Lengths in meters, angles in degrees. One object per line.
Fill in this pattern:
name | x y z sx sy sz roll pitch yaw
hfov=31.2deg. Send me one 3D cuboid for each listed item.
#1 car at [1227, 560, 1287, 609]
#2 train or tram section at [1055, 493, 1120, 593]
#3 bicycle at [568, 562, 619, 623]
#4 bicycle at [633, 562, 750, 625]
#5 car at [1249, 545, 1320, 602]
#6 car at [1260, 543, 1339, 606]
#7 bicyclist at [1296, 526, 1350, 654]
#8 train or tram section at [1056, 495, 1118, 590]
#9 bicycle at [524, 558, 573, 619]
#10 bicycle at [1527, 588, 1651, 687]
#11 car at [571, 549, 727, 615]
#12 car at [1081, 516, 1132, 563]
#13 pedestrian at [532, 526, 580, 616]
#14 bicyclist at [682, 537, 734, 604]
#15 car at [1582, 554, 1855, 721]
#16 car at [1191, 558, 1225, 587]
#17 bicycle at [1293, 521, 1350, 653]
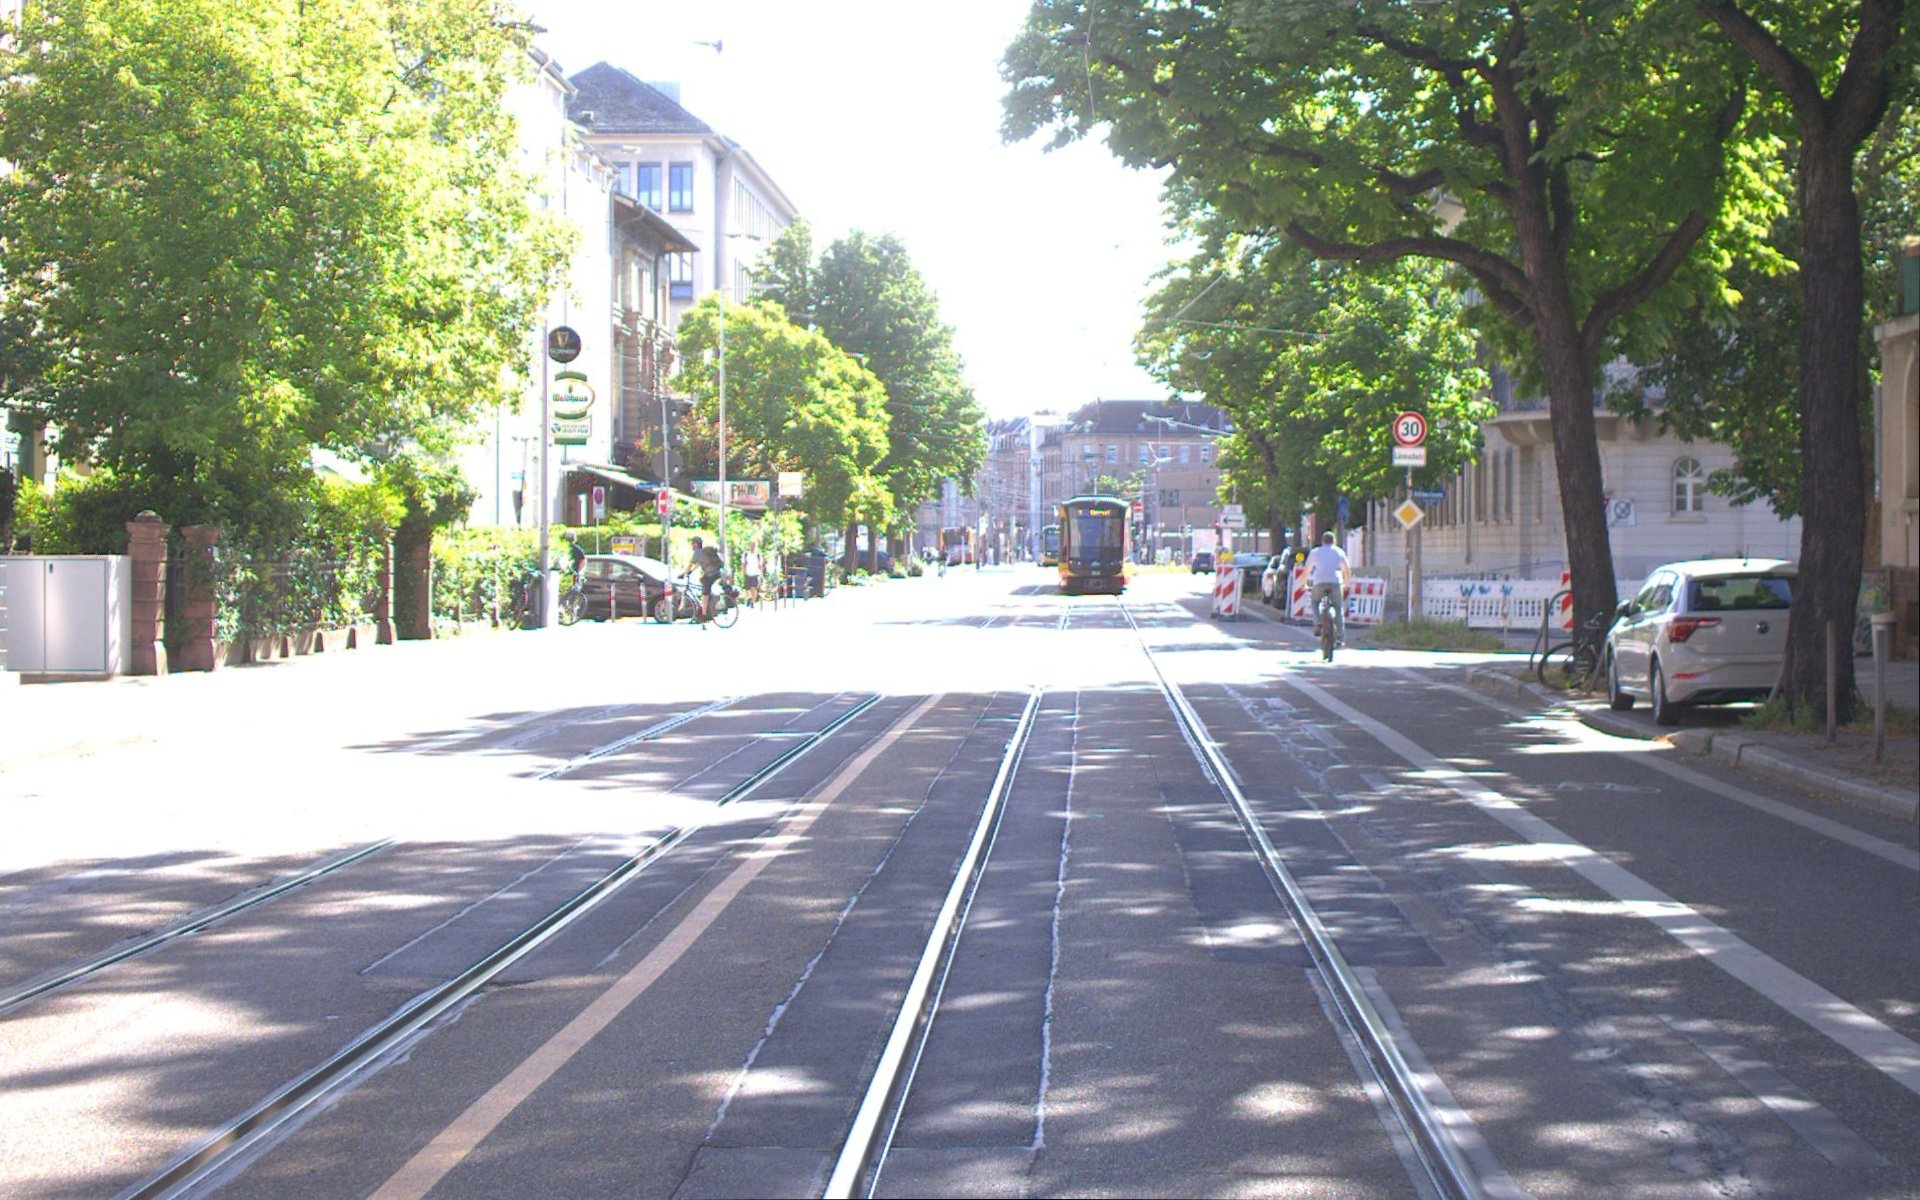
car | 9.866 -0.537 114.435 1.754 1.546 3.677 1 1 2
train or tram section | 4.549 -2.044 122.883 2.153 3.420 6.611 2 1 2
bicycle | -6.831 -0.144 64.034 0.632 1.065 1.832 2 1 -16
bicycle | -5.326 -0.127 68.318 2.141 1.167 0.802 2 1 18
car | 9.248 -0.766 98.296 1.754 1.546 3.677 2 1 2
car | 8.838 -0.686 89.691 1.754 1.546 3.677 2 1 2
bicyclist | 5.183 -0.153 49.180 0.645 1.789 0.956 2 1 2
train or tram section | 4.783 -2.163 129.515 2.153 3.420 6.611 2 1 2
bicycle | -7.575 -0.224 63.287 0.632 1.065 1.832 2 1 -14
bicycle | 6.848 0.405 37.449 1.270 1.020 0.704 2 0 10
car | -6.889 -0.382 76.030 1.754 1.415 3.579 1 -1 -38
car | 6.493 -2.684 152.637 1.993 2.007 4.000 2 1 -1
pedestrian | -7.779 -0.563 66.264 0.770 1.706 0.669 2 1 2
bicyclist | -5.003 -0.588 68.193 0.773 1.287 0.732 2 1 18
car | 6.954 0.297 31.881 1.749 1.415 4.000 -1 1 2
car | 15.340 -1.717 212.705 1.872 1.657 3.515 2 1 2
bicycle | 5.222 -0.206 49.817 0.663 1.853 2.259 2 1 3
